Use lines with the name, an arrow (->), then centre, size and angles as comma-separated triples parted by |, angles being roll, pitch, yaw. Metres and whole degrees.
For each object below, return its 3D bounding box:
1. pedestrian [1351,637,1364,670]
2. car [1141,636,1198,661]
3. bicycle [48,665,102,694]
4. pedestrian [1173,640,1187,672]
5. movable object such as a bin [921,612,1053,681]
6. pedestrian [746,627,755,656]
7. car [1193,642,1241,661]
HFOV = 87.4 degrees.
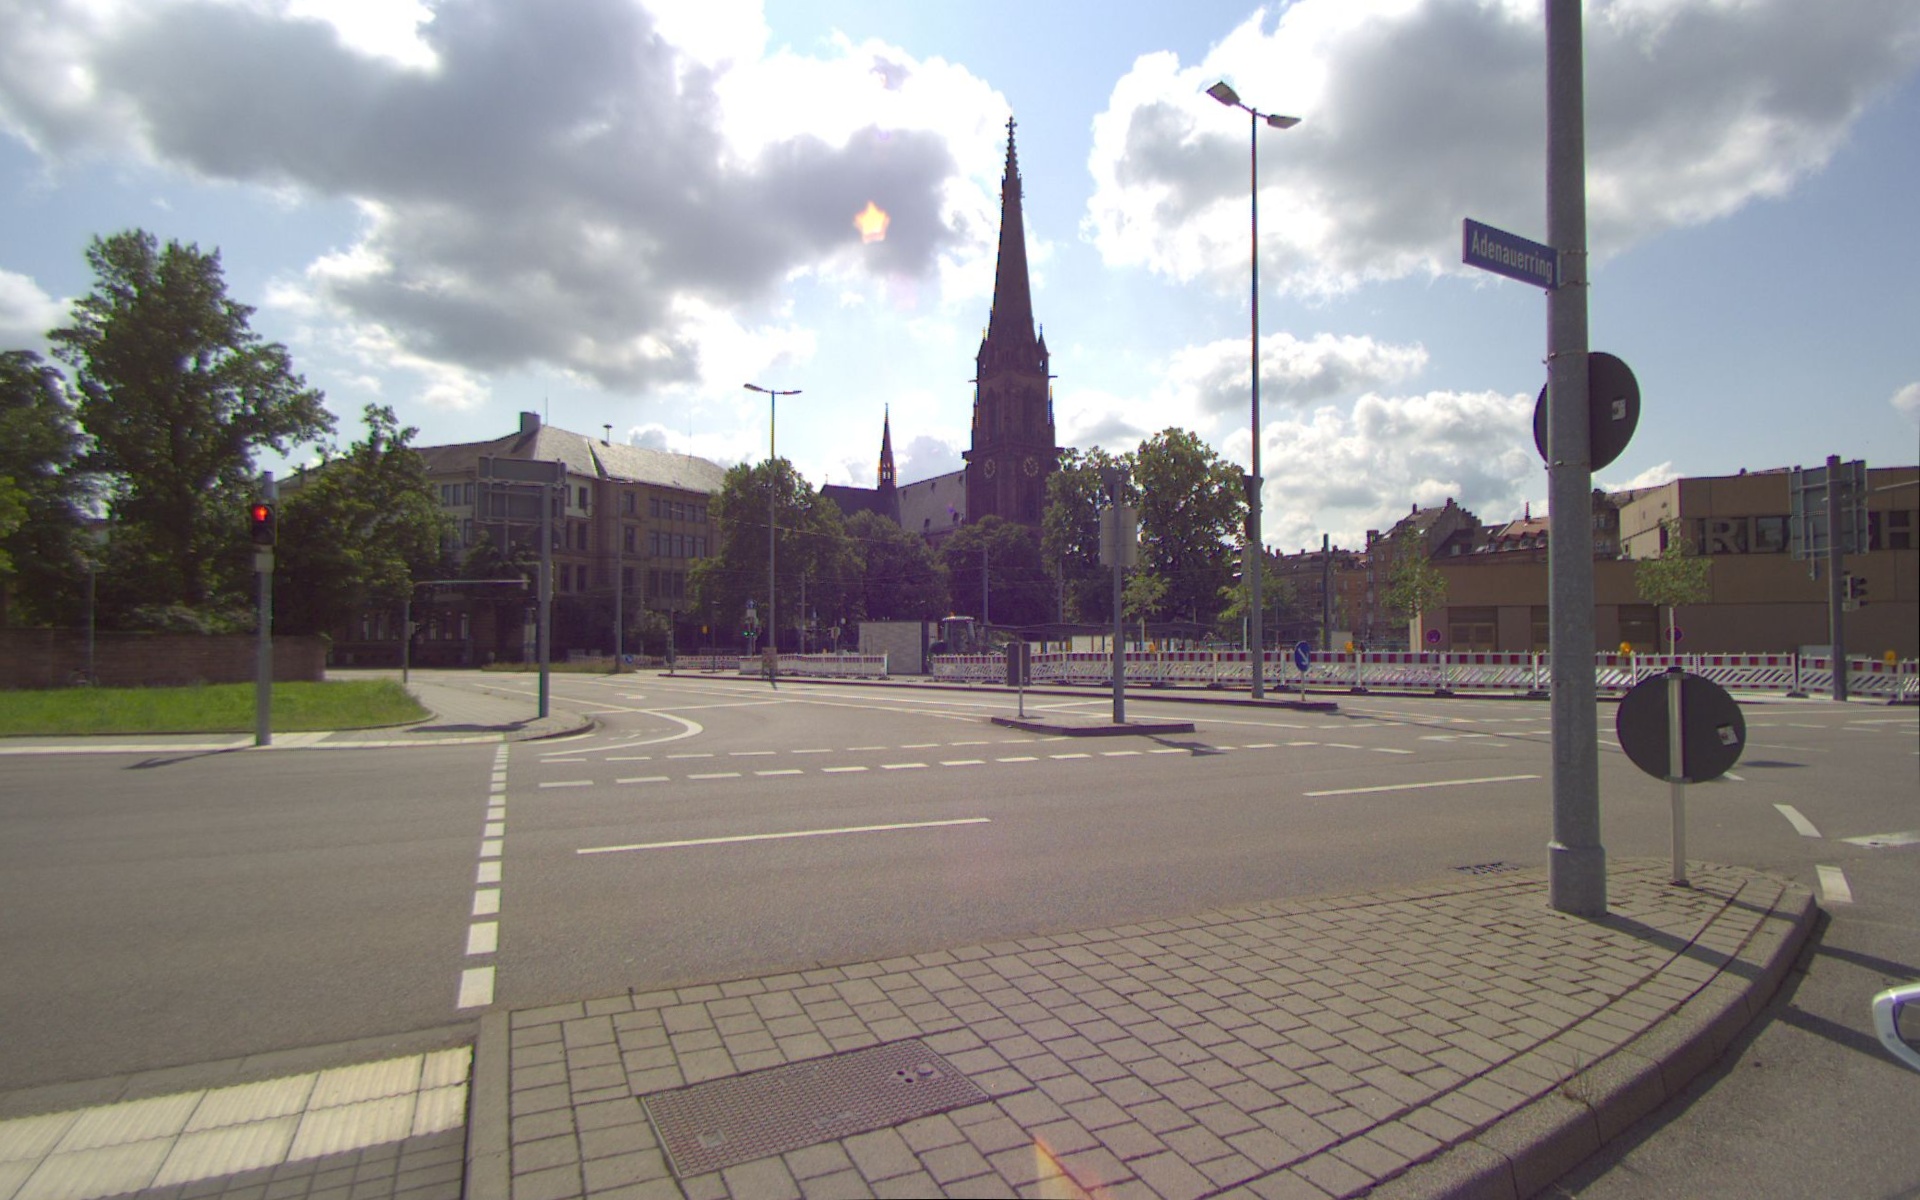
pedestrian -> 24.564, 3.285, 62.080 | 0.689, 2.040, 0.555 | -1, -2, 22
car -> 16.334, 3.757, 78.286 | 4.099, 1.906, 1.803 | -1, -3, 22
bicycle -> -32.196, 2.873, 36.556 | 0.386, 1.005, 1.524 | 0, -3, 12
pedestrian -> 14.585, 3.707, 66.590 | 0.748, 2.040, 0.750 | -1, -2, 20
movable object such as a bin -> 1.220, 2.051, 44.380 | 5.430, 2.922, 2.290 | -1, -3, 14
pedestrian -> -13.276, 2.640, 63.710 | 0.492, 1.874, 0.526 | 1, -3, -23
car -> 25.615, 5.133, 100.256 | 4.295, 1.817, 1.780 | -2, -3, 31
